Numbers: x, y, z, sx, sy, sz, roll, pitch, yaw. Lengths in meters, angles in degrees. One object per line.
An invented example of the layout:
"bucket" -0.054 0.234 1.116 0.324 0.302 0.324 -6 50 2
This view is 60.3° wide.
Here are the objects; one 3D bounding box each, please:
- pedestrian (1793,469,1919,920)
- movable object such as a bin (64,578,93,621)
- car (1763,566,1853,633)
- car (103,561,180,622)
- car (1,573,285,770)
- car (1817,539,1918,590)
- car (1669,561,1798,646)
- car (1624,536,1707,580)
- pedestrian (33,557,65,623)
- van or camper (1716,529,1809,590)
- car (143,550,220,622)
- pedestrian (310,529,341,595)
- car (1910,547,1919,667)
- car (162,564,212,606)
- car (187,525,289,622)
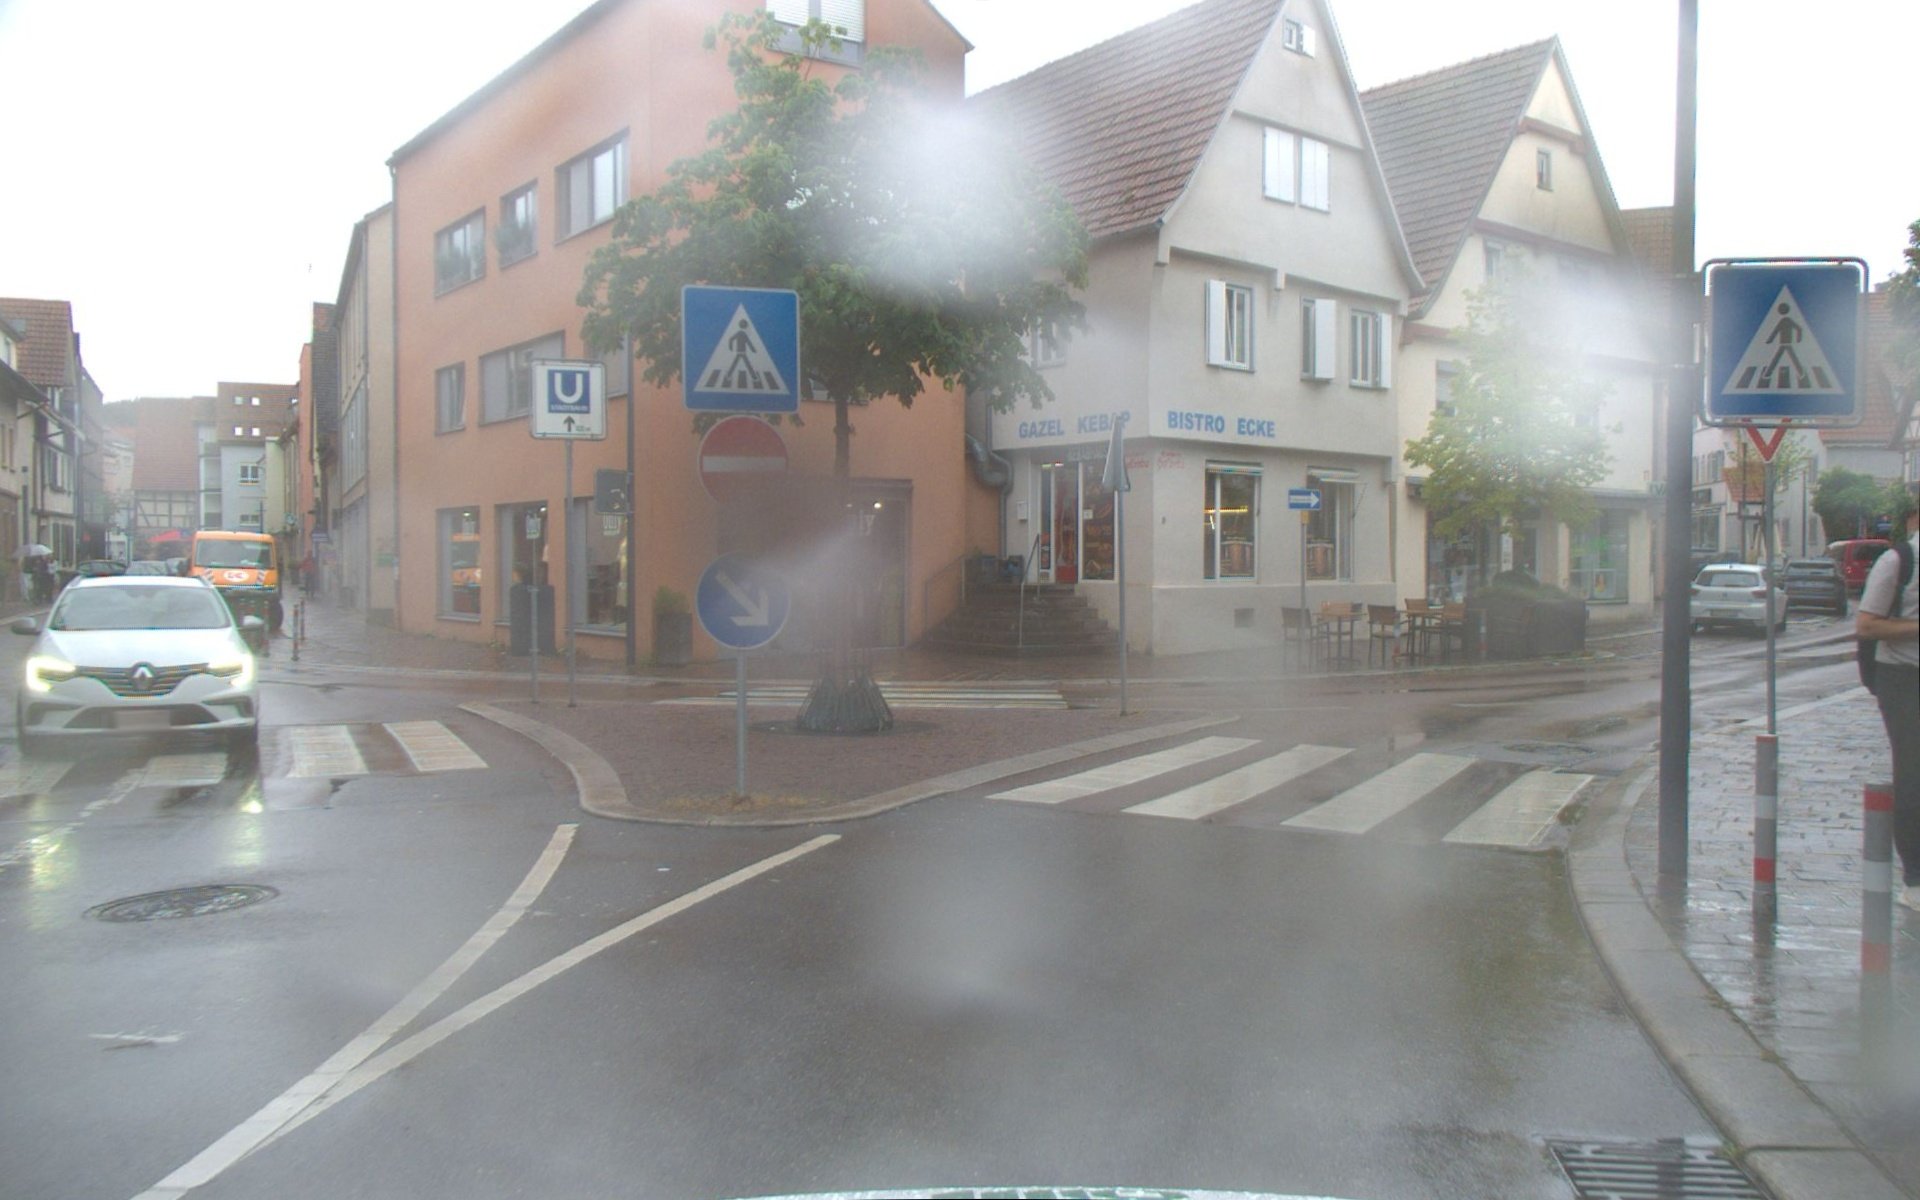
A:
"pedestrian" 4.421 0.405 7.531 0.743 1.948 0.860 0 0 -16
"movable object such as a bin" -29.414 -0.031 55.185 0.824 1.406 0.846 -1 1 -28
"car" 22.842 -0.050 44.662 1.954 1.620 3.998 -2 1 25
"car" -29.659 -0.315 60.050 1.965 2.048 4.336 -3 1 -21
"car" -7.137 0.503 14.763 1.967 1.466 4.133 -1 1 -24
"car" 31.444 -1.241 57.443 1.951 1.620 4.004 -2 1 12
"car" 16.710 0.047 35.630 1.958 1.620 3.989 -2 1 33
"car" 28.134 -1.676 66.048 1.951 1.620 4.004 -2 1 7
"pedestrian" -28.912 -0.320 52.486 0.824 2.049 0.846 -1 1 -28
"van or camper" 27.598 -1.395 56.997 1.787 1.952 4.004 -2 1 10
"car" -25.439 -0.452 54.158 2.076 2.183 4.830 -3 1 -24
"pedestrian" -20.027 -1.198 52.217 0.856 2.049 0.702 -1 1 -27
"car" 15.506 0.007 24.448 1.962 1.687 3.982 -1 1 38
"car" -40.355 -0.777 86.388 1.965 2.048 3.976 -3 1 -21
"car" -17.688 -0.628 40.470 2.077 2.183 4.829 -3 1 -25
